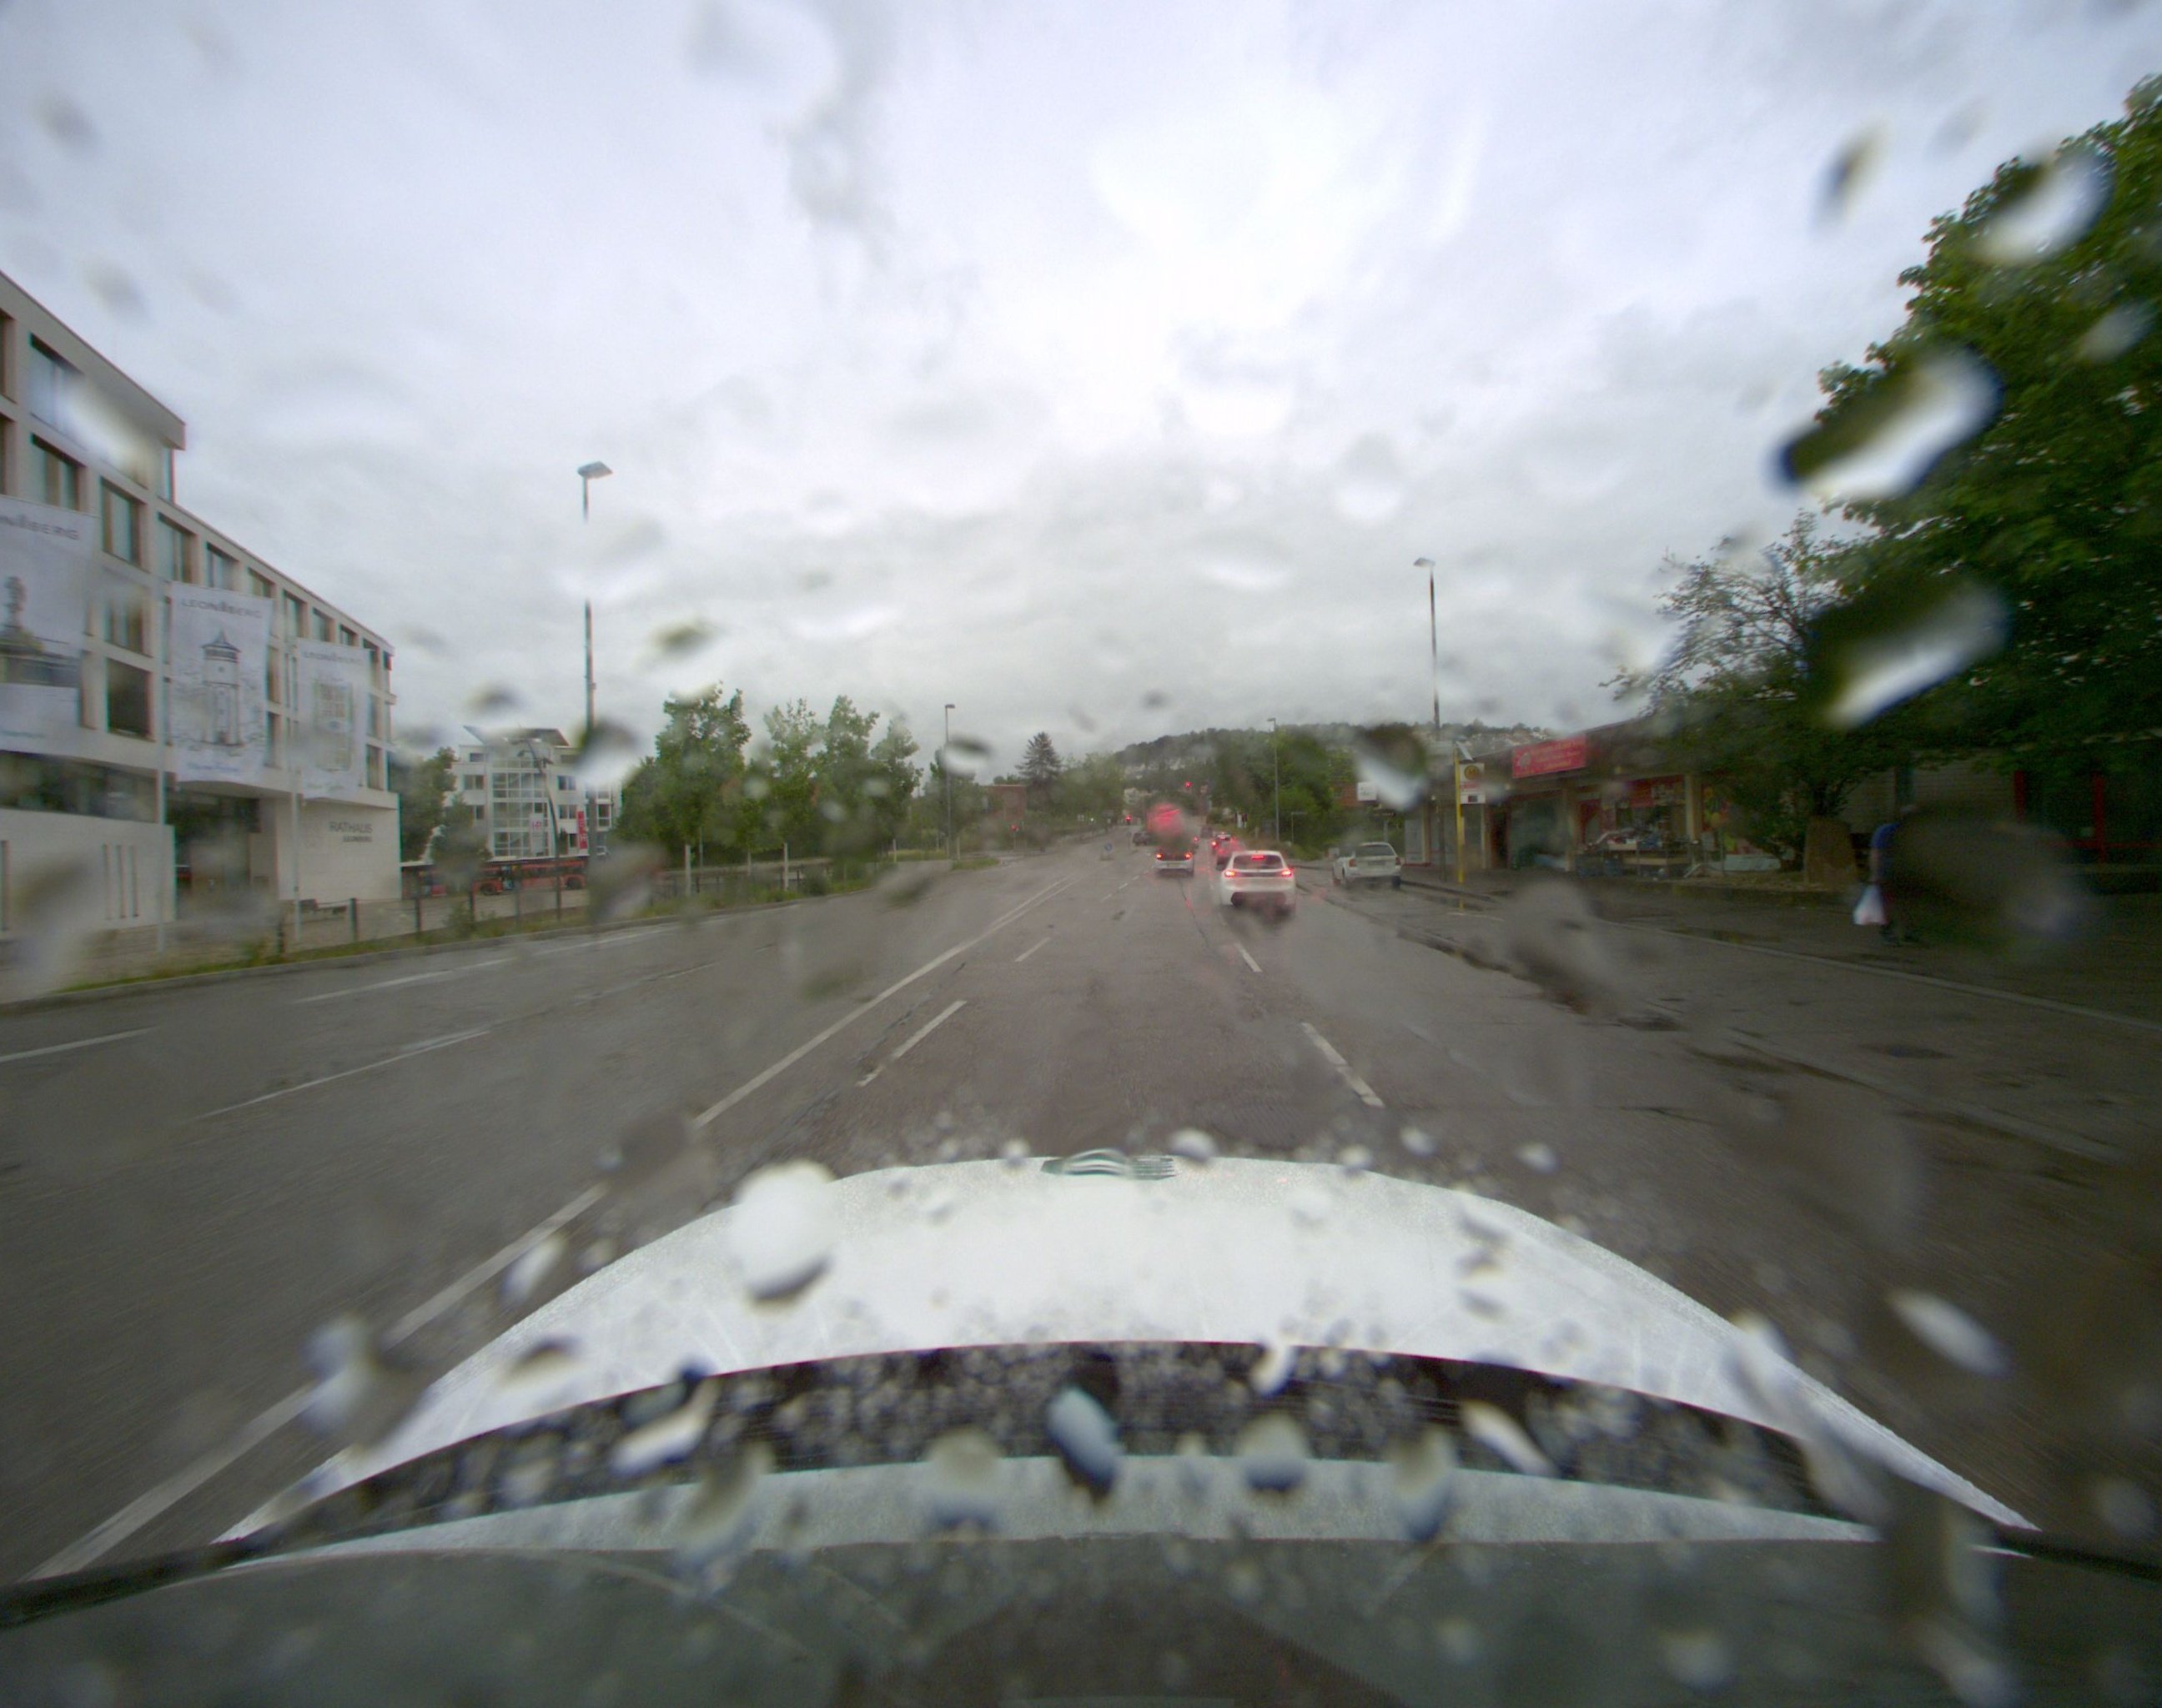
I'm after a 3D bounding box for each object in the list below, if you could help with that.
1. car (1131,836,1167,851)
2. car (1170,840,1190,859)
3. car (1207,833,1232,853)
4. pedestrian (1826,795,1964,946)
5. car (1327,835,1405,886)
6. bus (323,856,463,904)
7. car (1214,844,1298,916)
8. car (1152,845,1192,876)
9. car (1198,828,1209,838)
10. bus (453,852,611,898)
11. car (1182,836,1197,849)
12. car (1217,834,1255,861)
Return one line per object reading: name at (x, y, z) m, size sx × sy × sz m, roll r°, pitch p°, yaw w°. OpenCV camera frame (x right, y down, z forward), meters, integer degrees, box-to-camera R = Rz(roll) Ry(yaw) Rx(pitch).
car at (7.694, -1.171, 92.227) m, size 3.533 × 1.569 × 1.785 m, roll -2°, pitch -2°, yaw -26°
car at (6.635, -0.284, 54.580) m, size 1.207 × 1.156 × 2.273 m, roll -3°, pitch -2°, yaw 5°
car at (11.574, -0.876, 68.238) m, size 1.641 × 1.485 × 3.367 m, roll -3°, pitch -2°, yaw 2°
pedestrian at (9.994, 0.190, 10.028) m, size 0.872 × 1.737 × 0.760 m, roll -3°, pitch 1°, yaw 0°
car at (9.461, 0.167, 27.335) m, size 1.720 × 1.497 × 4.494 m, roll -3°, pitch 0°, yaw 10°
bus at (-53.382, 2.002, 63.463) m, size 7.854 × 3.281 × 2.719 m, roll -2°, pitch -2°, yaw -25°
car at (4.164, 0.560, 19.863) m, size 1.681 × 1.519 × 3.942 m, roll -2°, pitch 1°, yaw 8°
car at (4.288, 0.318, 38.033) m, size 1.732 × 1.296 × 3.340 m, roll -3°, pitch -1°, yaw 7°
car at (16.837, -2.855, 112.214) m, size 1.359 × 1.157 × 2.431 m, roll -3°, pitch -1°, yaw 6°
bus at (-45.041, 1.677, 67.281) m, size 10.432 × 3.281 × 2.837 m, roll -2°, pitch -2°, yaw -27°
car at (10.863, -1.178, 81.538) m, size 1.378 × 1.126 × 2.614 m, roll -3°, pitch -2°, yaw 6°
car at (8.995, -0.388, 47.578) m, size 1.727 × 1.387 × 3.355 m, roll -1°, pitch 3°, yaw 3°
